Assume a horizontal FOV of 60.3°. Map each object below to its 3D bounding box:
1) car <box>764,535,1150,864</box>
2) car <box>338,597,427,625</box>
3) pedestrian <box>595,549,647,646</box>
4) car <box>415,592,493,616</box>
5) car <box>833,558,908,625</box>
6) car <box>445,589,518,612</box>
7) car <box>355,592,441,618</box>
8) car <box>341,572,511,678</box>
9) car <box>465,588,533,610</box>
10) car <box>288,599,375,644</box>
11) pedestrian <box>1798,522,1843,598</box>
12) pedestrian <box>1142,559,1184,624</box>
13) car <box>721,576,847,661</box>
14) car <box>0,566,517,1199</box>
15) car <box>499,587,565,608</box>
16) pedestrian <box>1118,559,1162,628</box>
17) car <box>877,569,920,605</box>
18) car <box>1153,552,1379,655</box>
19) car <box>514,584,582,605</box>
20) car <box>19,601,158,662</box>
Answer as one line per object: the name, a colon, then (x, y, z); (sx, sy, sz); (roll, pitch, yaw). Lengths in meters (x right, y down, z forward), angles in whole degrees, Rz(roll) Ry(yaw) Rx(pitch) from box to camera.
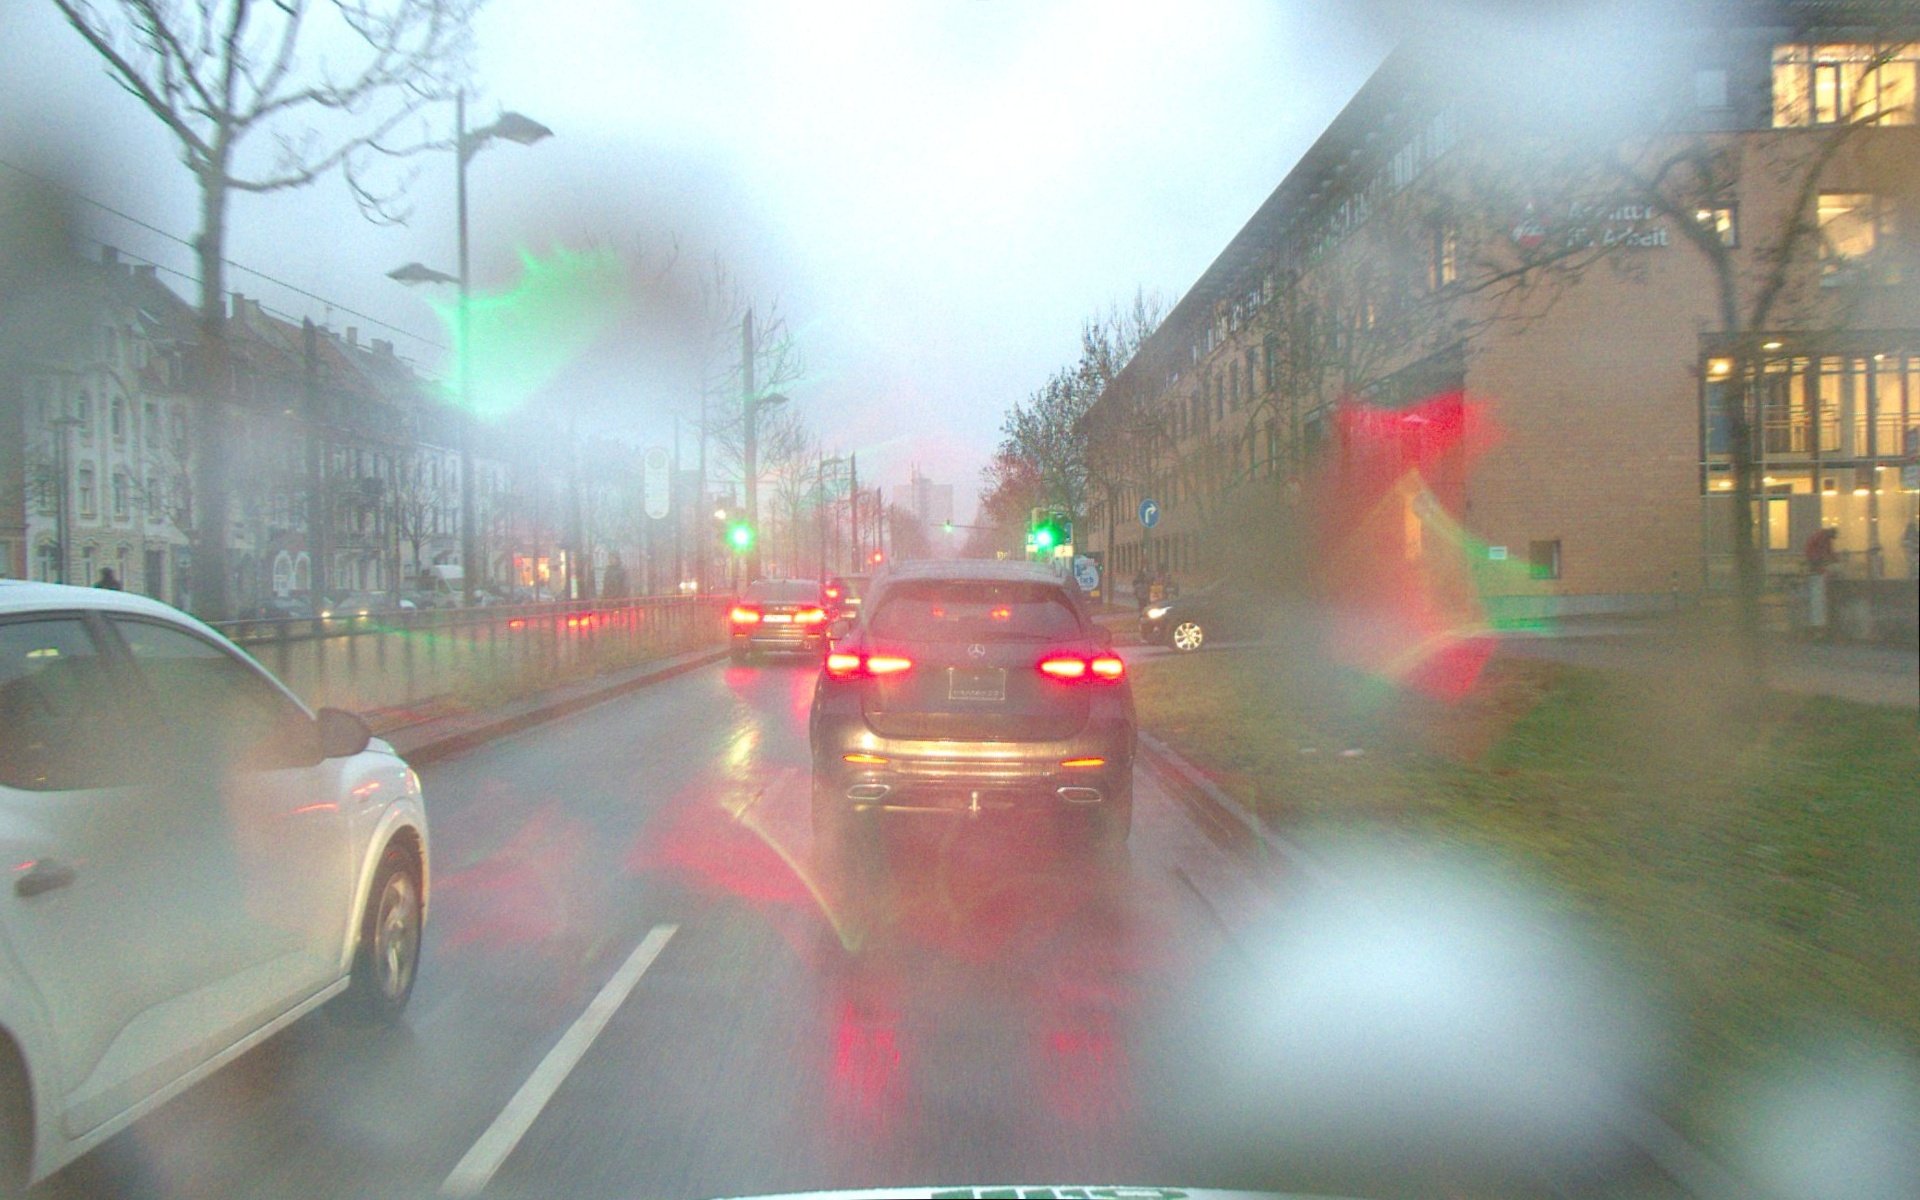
car: (-0.022, 0.485, 10.556); (1.950, 1.644, 4.000); (-2, 1, 0)
car: (-28.034, 0.521, 80.336); (3.694, 1.176, 1.651); (-2, 1, 5)
pedestrian: (-5.699, -0.050, 27.799); (0.684, 1.579, 0.669); (-2, 1, -1)
car: (-27.667, 0.225, 90.520); (3.694, 1.176, 1.651); (-2, 1, 5)
car: (-2.555, -0.265, 48.068); (1.953, 1.796, 4.000); (-2, 1, -1)
car: (-27.957, 0.003, 96.733); (3.694, 1.176, 1.651); (-2, 1, 5)
car: (-28.251, 0.251, 83.228); (3.694, 1.176, 1.651); (-2, 1, 5)
car: (-10.234, 0.429, 32.015); (1.953, 1.854, 4.000); (-2, 1, -1)
car: (-28.833, -0.078, 103.430); (3.694, 1.176, 1.651); (-2, 1, 5)
car: (-22.214, 0.734, 58.625); (1.620, 1.422, 3.767); (-2, 1, -1)
pedestrian: (19.343, -0.892, 37.194); (0.618, 1.666, 0.737); (-2, 1, 5)
pedestrian: (5.173, -0.218, 42.155); (0.888, 1.624, 0.499); (-1, 1, 42)
car: (-3.200, 0.289, 30.741); (1.953, 1.422, 3.999); (-2, 1, -1)
car: (-2.524, 0.703, 4.119); (1.592, 1.513, 4.002); (-2, 1, 2)
car: (-27.549, -0.159, 106.546); (3.694, 1.176, 1.651); (-2, 1, 5)
pedestrian: (4.331, -0.149, 39.870); (0.888, 1.624, 0.499); (-1, 1, 42)
car: (-2.946, -0.627, 80.195); (1.953, 1.646, 3.999); (-2, 1, -1)
car: (5.594, 0.046, 30.519); (3.781, 1.587, 1.766); (-4, 1, 1)
car: (-27.312, -0.382, 109.692); (3.902, 1.248, 2.002); (-2, 1, 6)
car: (-22.780, 0.795, 43.384); (1.620, 1.422, 3.767); (-2, 1, -1)
